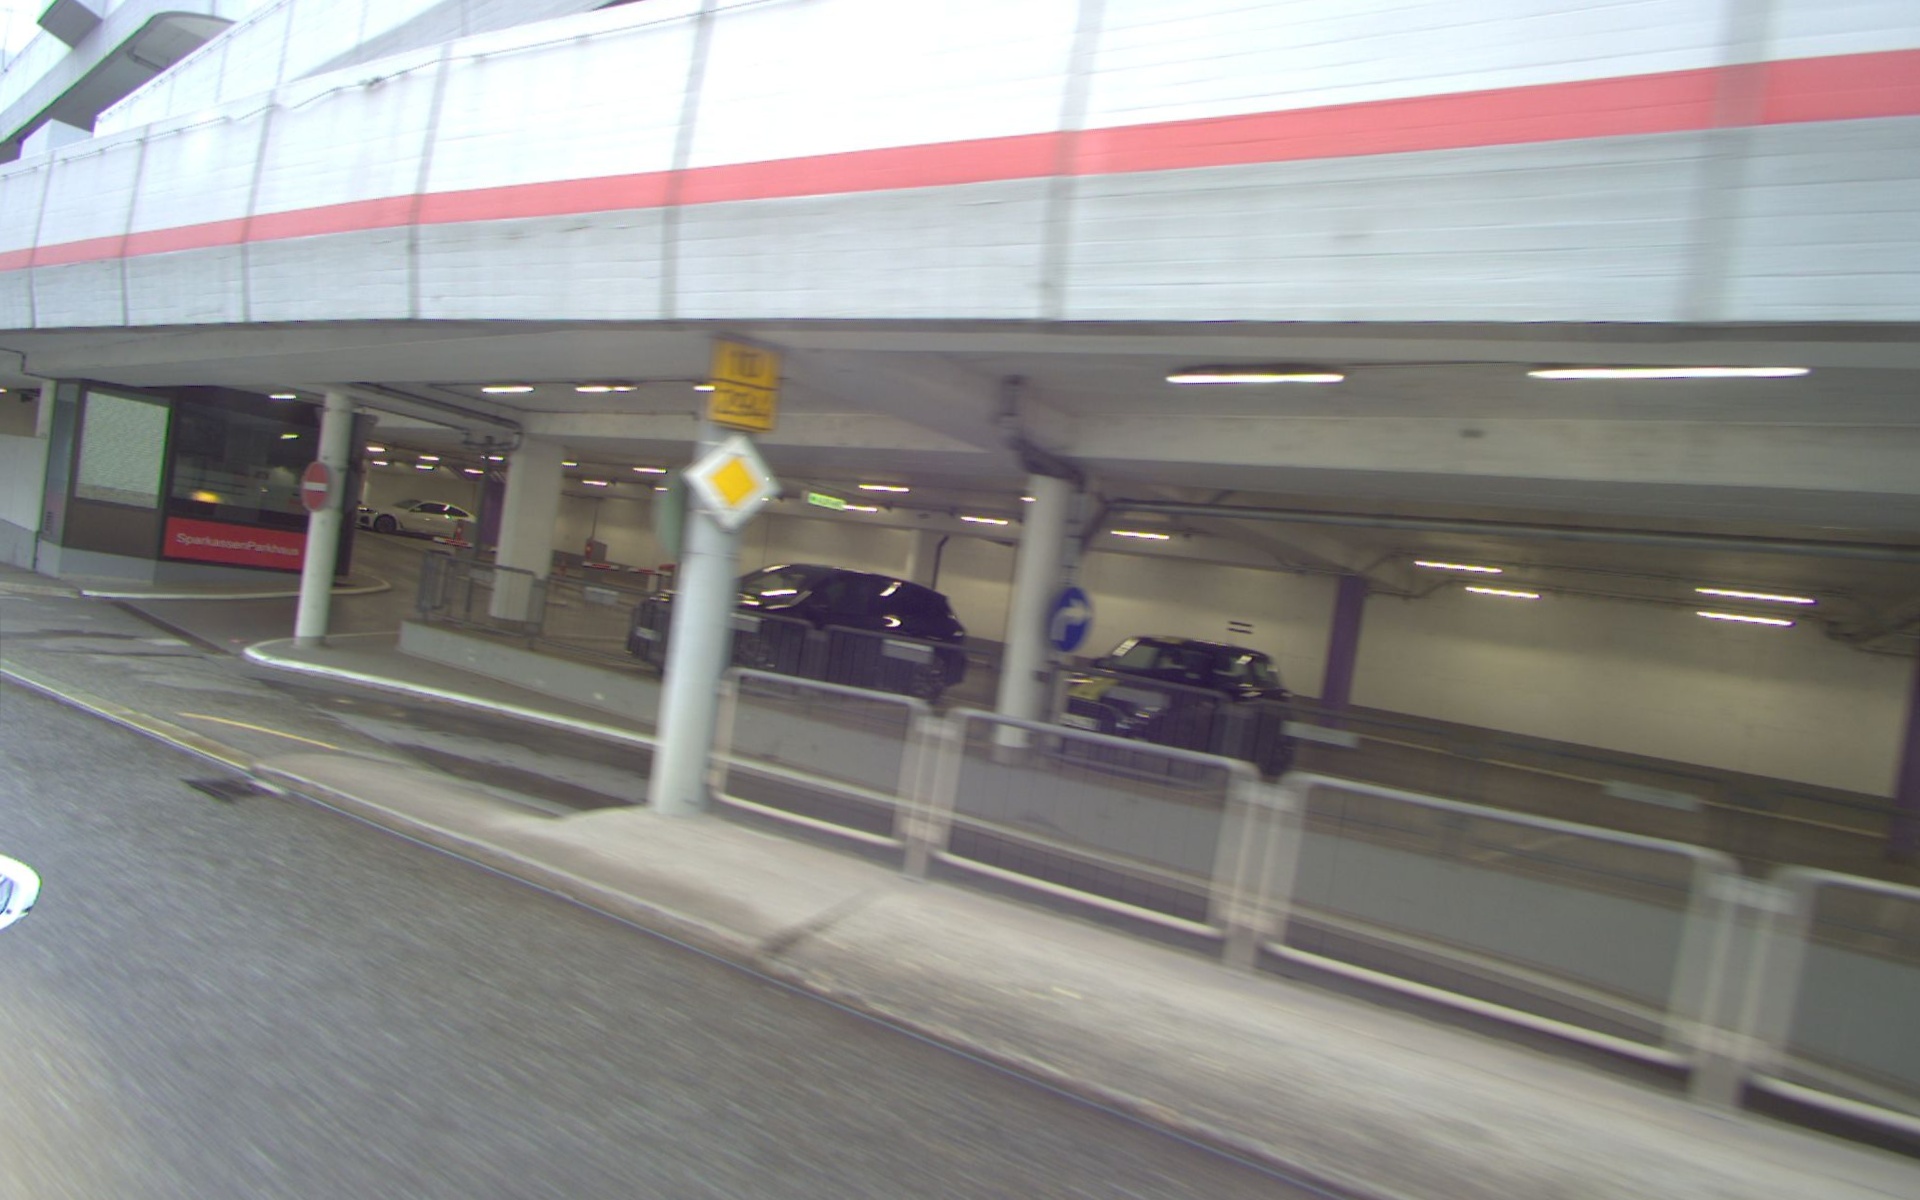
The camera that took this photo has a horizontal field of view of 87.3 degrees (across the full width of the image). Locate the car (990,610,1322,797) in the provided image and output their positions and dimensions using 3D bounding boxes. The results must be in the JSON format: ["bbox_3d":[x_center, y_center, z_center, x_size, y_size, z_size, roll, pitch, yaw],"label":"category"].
[{"bbox_3d":[2.288,1.089,11.144,1.782,1.524,3.714,8,2,43],"label":"car"}]

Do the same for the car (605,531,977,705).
[{"bbox_3d":[-2.027,0.332,13.261,1.797,1.658,4.572,6,-3,42],"label":"car"}]

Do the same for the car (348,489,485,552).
[{"bbox_3d":[-20.526,-2.986,38.093,1.972,1.658,3.986,6,-3,40],"label":"car"}]
